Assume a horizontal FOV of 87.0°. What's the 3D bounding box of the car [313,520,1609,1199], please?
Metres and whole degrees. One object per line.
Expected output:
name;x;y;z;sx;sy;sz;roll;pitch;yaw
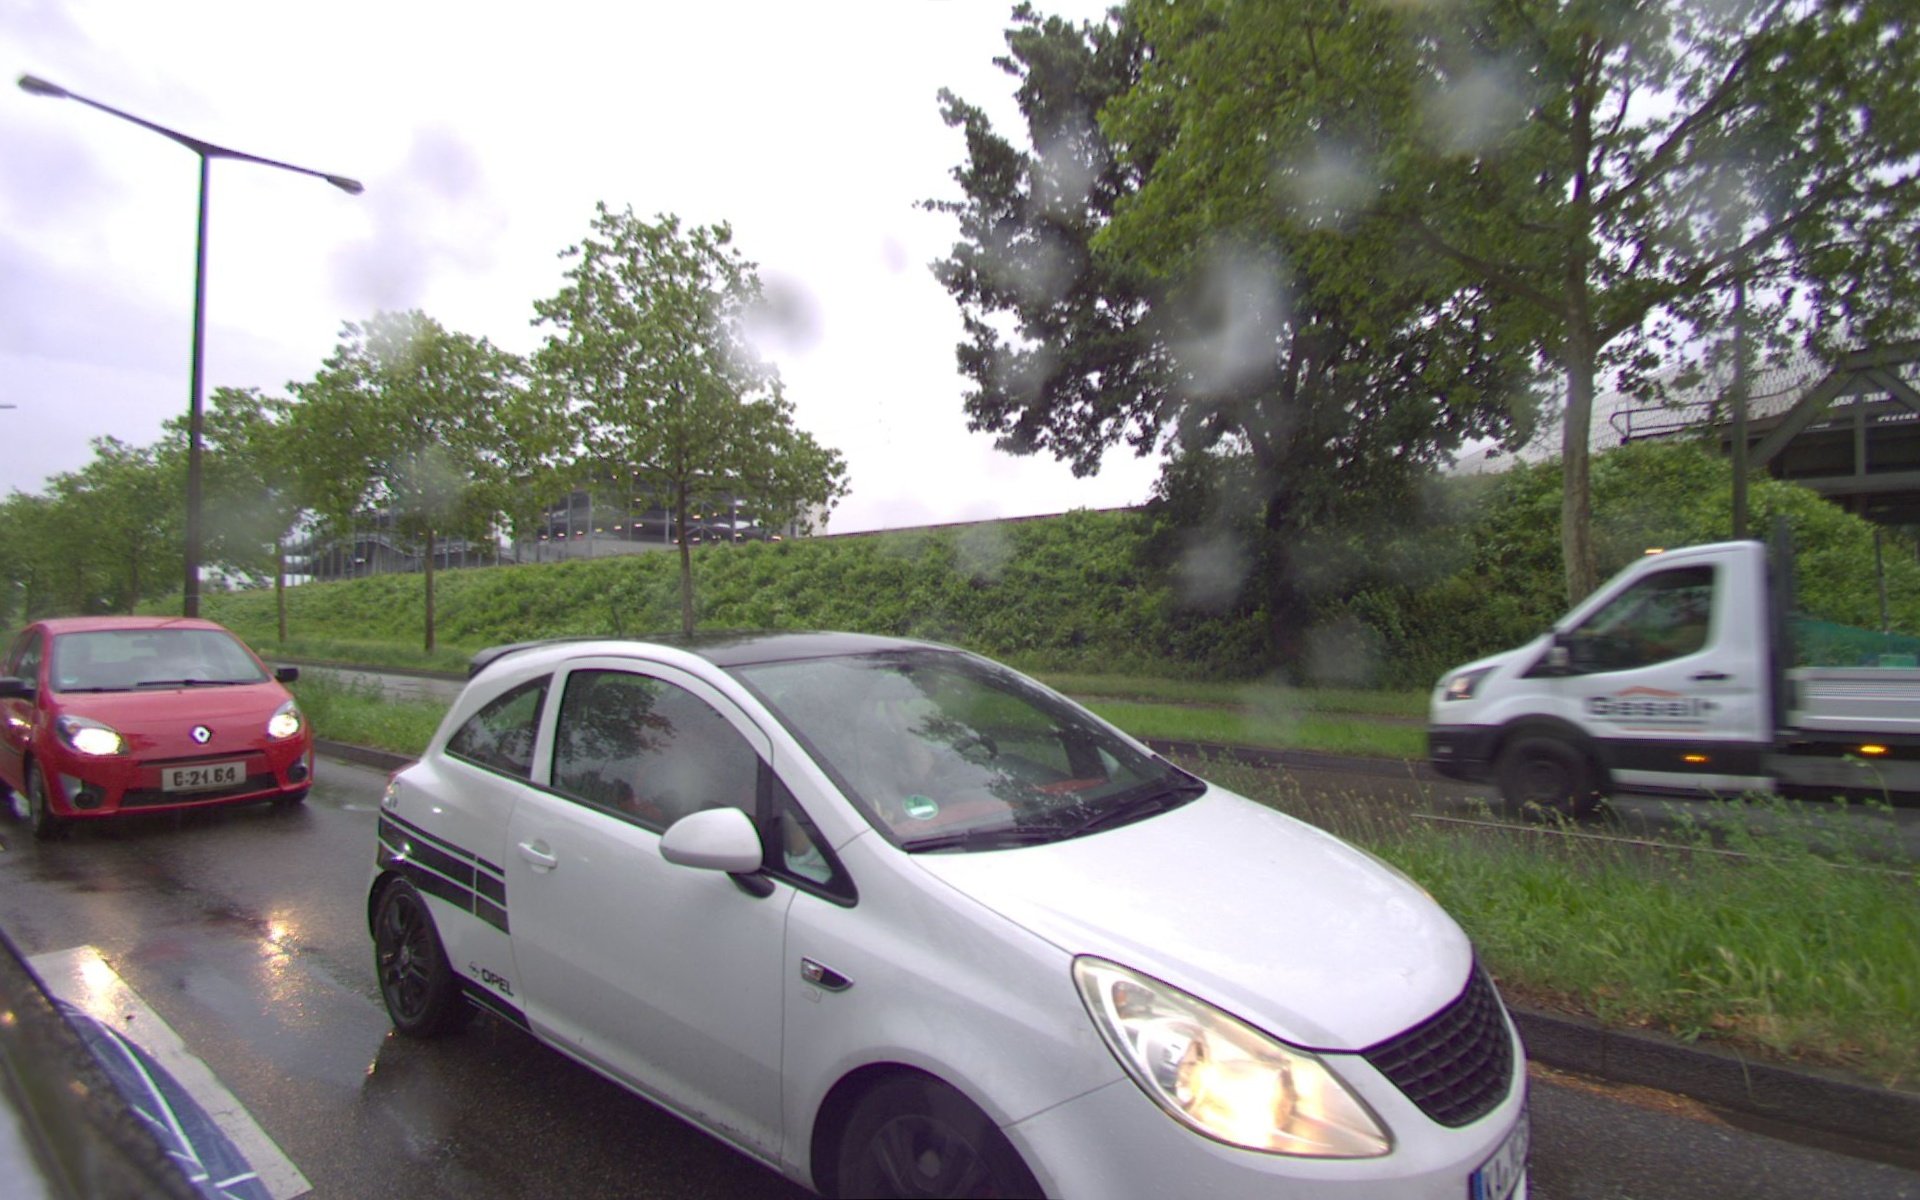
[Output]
car;-0.405;0.619;3.238;4.007;1.387;1.662;-1;0;40

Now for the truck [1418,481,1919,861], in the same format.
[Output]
truck;7.153;0.473;7.005;6.864;2.383;2.448;-1;-3;41

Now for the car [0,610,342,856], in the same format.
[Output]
car;-6.689;0.853;8.155;4.089;1.476;1.702;-1;0;40
